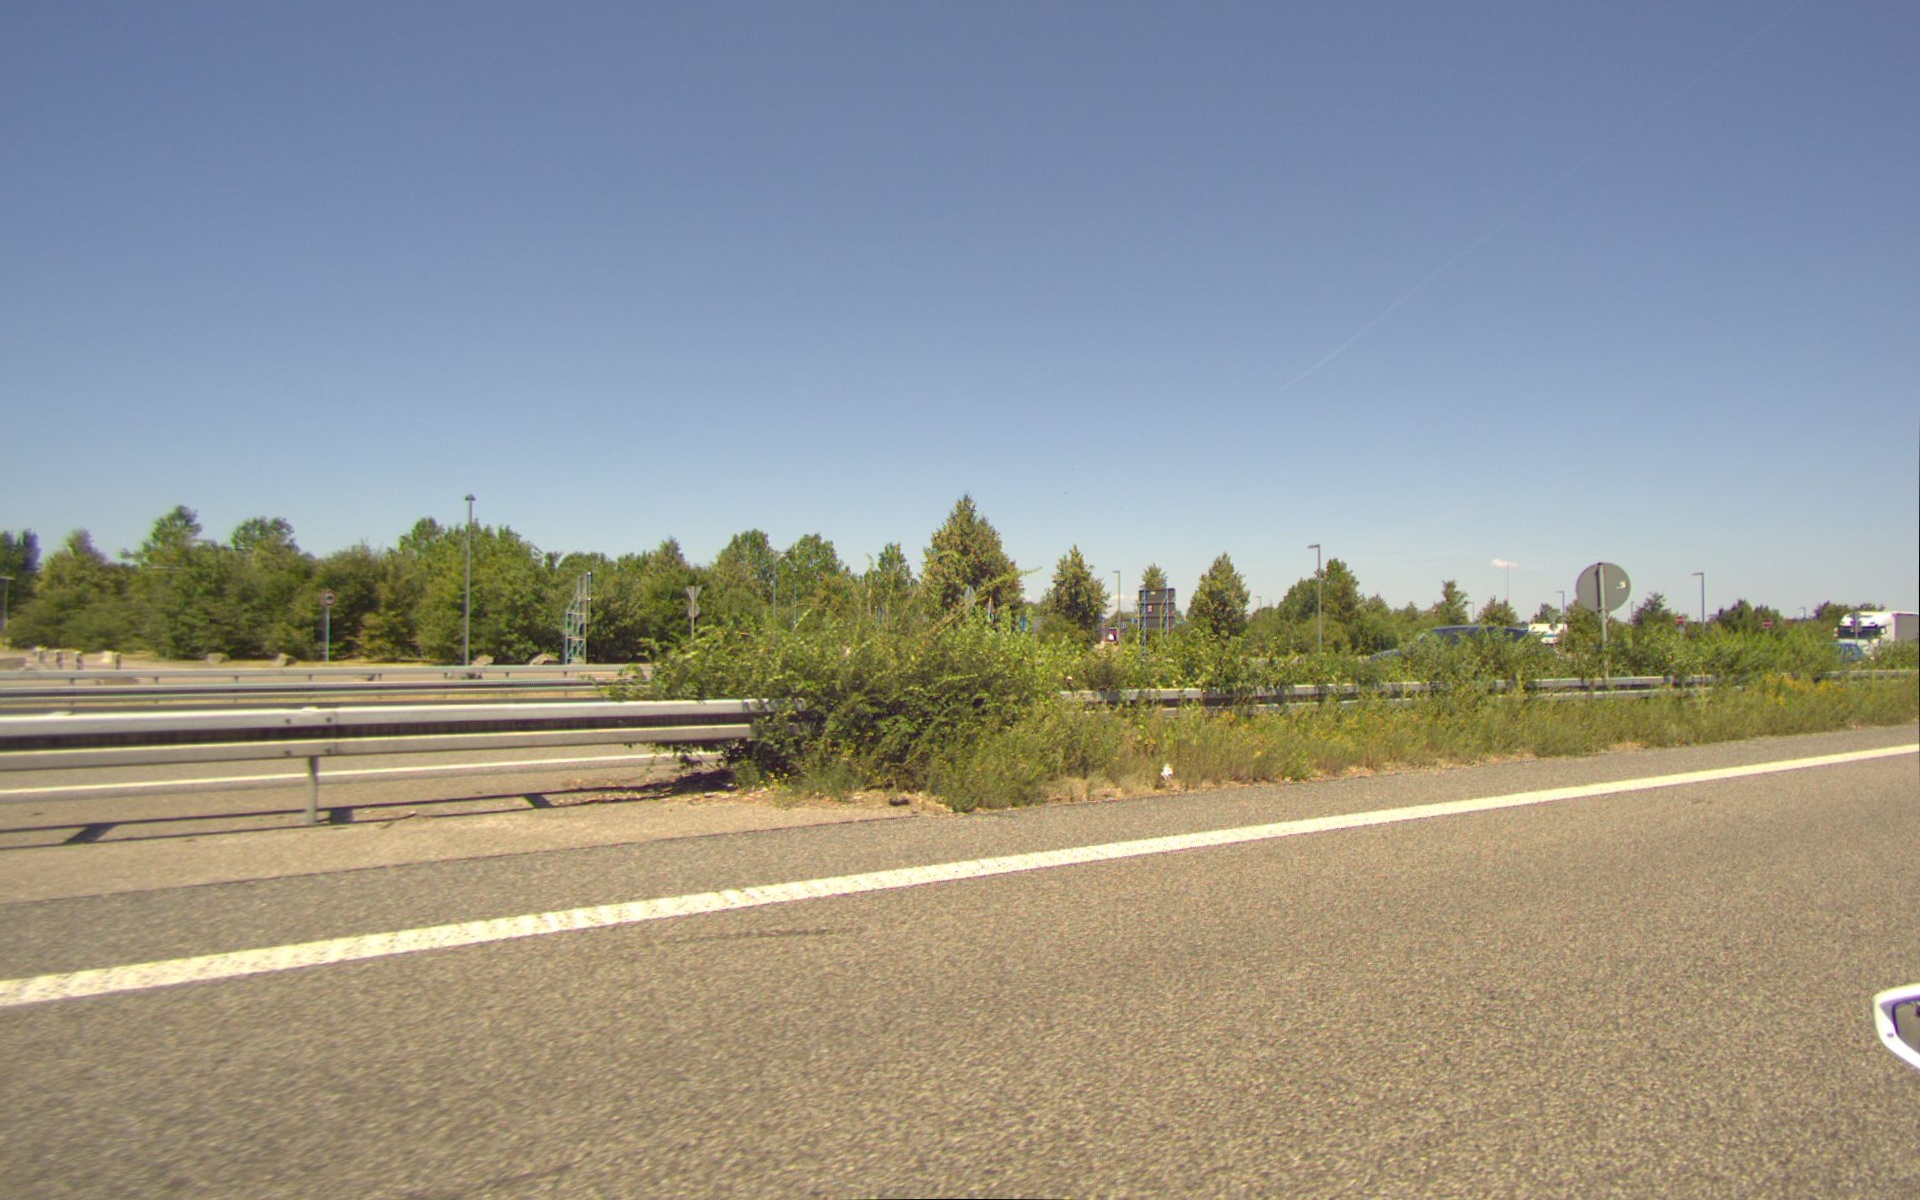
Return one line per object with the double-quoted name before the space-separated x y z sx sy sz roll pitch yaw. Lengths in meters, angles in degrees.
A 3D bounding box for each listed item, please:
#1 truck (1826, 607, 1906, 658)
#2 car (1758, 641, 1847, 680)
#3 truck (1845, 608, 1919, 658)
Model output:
"truck" 69.476 2.498 76.985 6.074 3.692 2.786 2 0 -30
"car" 33.037 2.364 39.380 3.810 1.443 1.535 2 -3 -32
"truck" 75.564 2.670 80.552 13.446 3.692 2.786 2 0 -30
